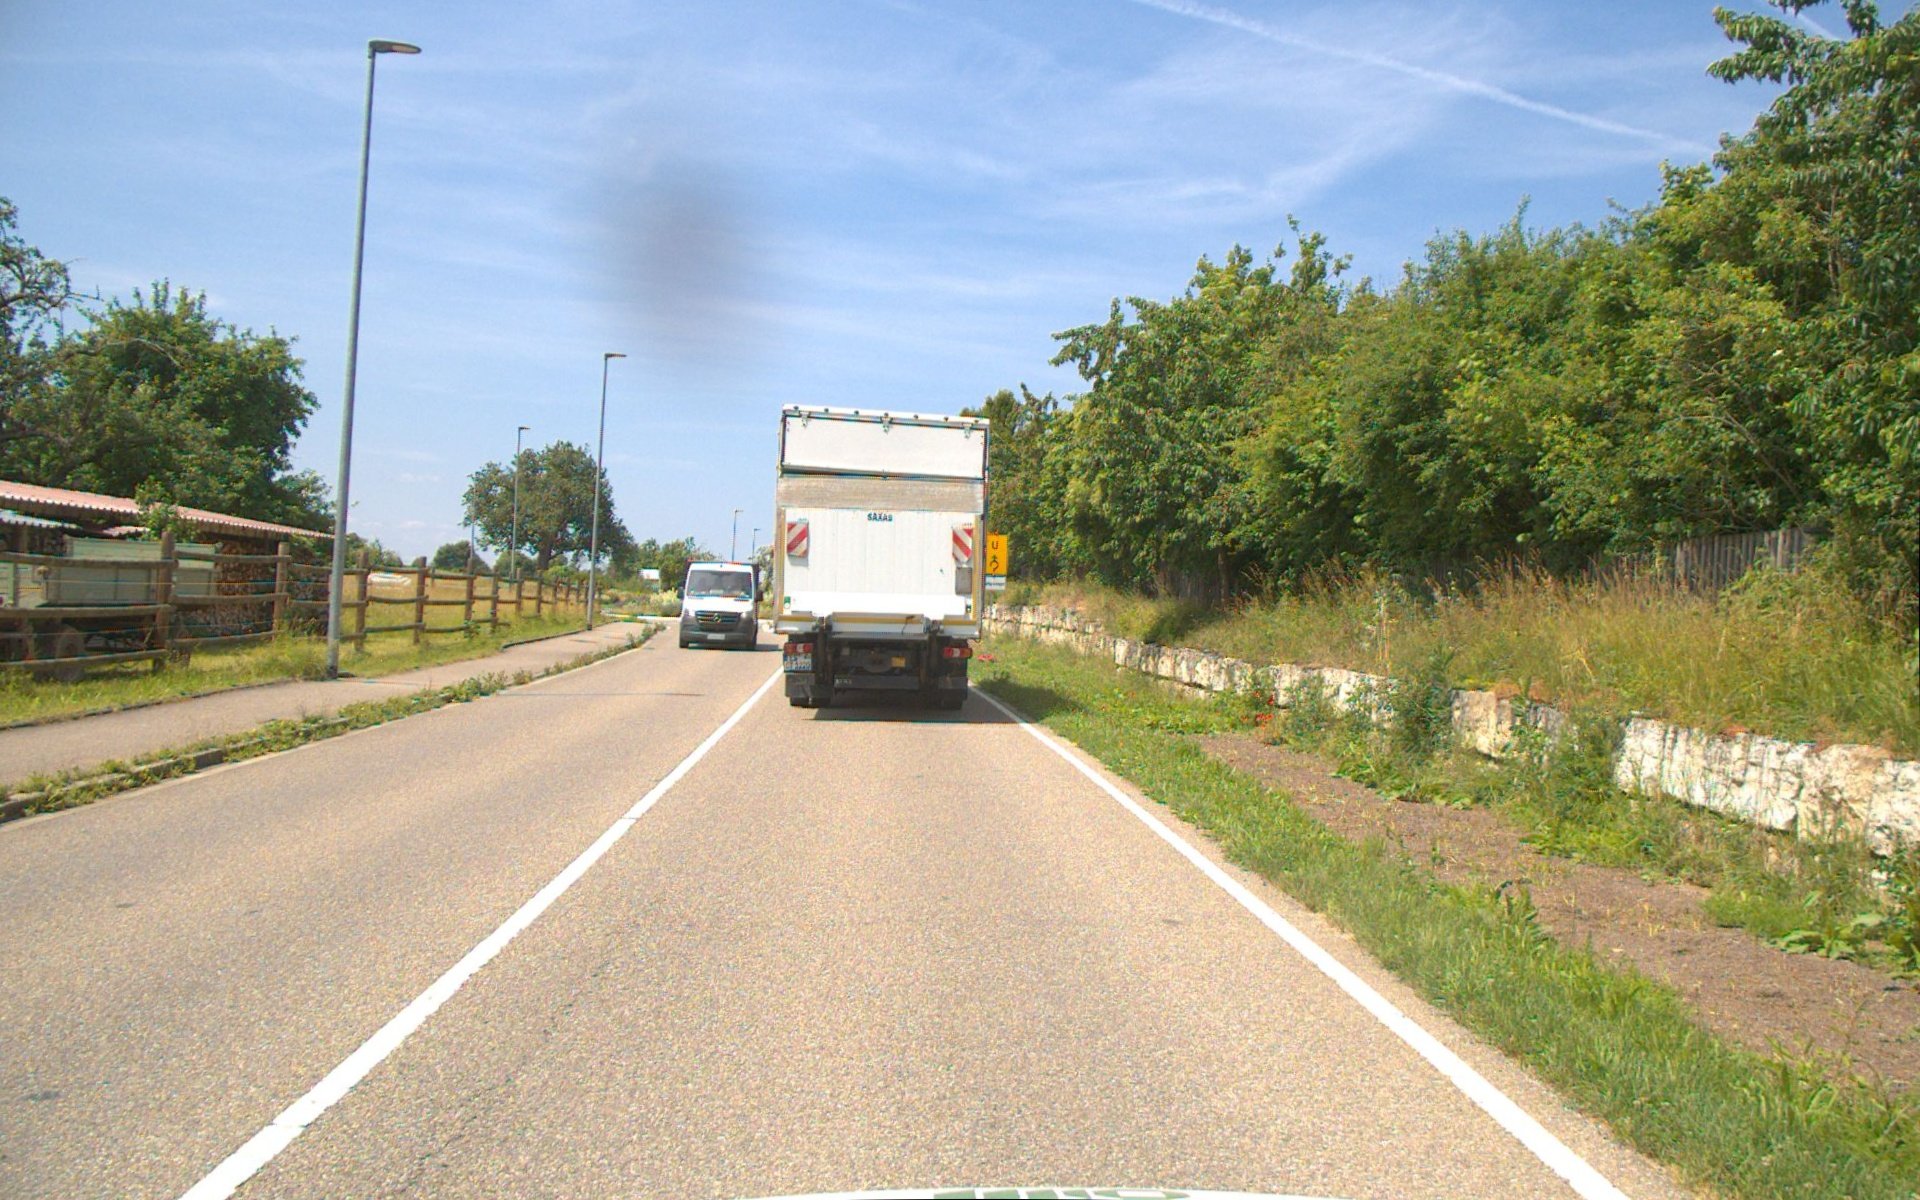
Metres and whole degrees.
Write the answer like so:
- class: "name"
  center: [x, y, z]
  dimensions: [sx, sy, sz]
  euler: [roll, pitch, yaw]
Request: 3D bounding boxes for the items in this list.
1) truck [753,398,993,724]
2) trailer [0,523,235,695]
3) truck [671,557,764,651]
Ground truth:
- class: "truck"
  center: [-1.305, -0.453, 23.935]
  dimensions: [2.712, 3.735, 9.375]
  euler: [1, 0, -4]
- class: "trailer"
  center: [-10.478, 0.065, 19.229]
  dimensions: [2.112, 1.733, 5.025]
  euler: [2, 0, -4]
- class: "truck"
  center: [-6.577, 0.108, 45.526]
  dimensions: [2.179, 2.333, 6.483]
  euler: [2, 0, -6]
